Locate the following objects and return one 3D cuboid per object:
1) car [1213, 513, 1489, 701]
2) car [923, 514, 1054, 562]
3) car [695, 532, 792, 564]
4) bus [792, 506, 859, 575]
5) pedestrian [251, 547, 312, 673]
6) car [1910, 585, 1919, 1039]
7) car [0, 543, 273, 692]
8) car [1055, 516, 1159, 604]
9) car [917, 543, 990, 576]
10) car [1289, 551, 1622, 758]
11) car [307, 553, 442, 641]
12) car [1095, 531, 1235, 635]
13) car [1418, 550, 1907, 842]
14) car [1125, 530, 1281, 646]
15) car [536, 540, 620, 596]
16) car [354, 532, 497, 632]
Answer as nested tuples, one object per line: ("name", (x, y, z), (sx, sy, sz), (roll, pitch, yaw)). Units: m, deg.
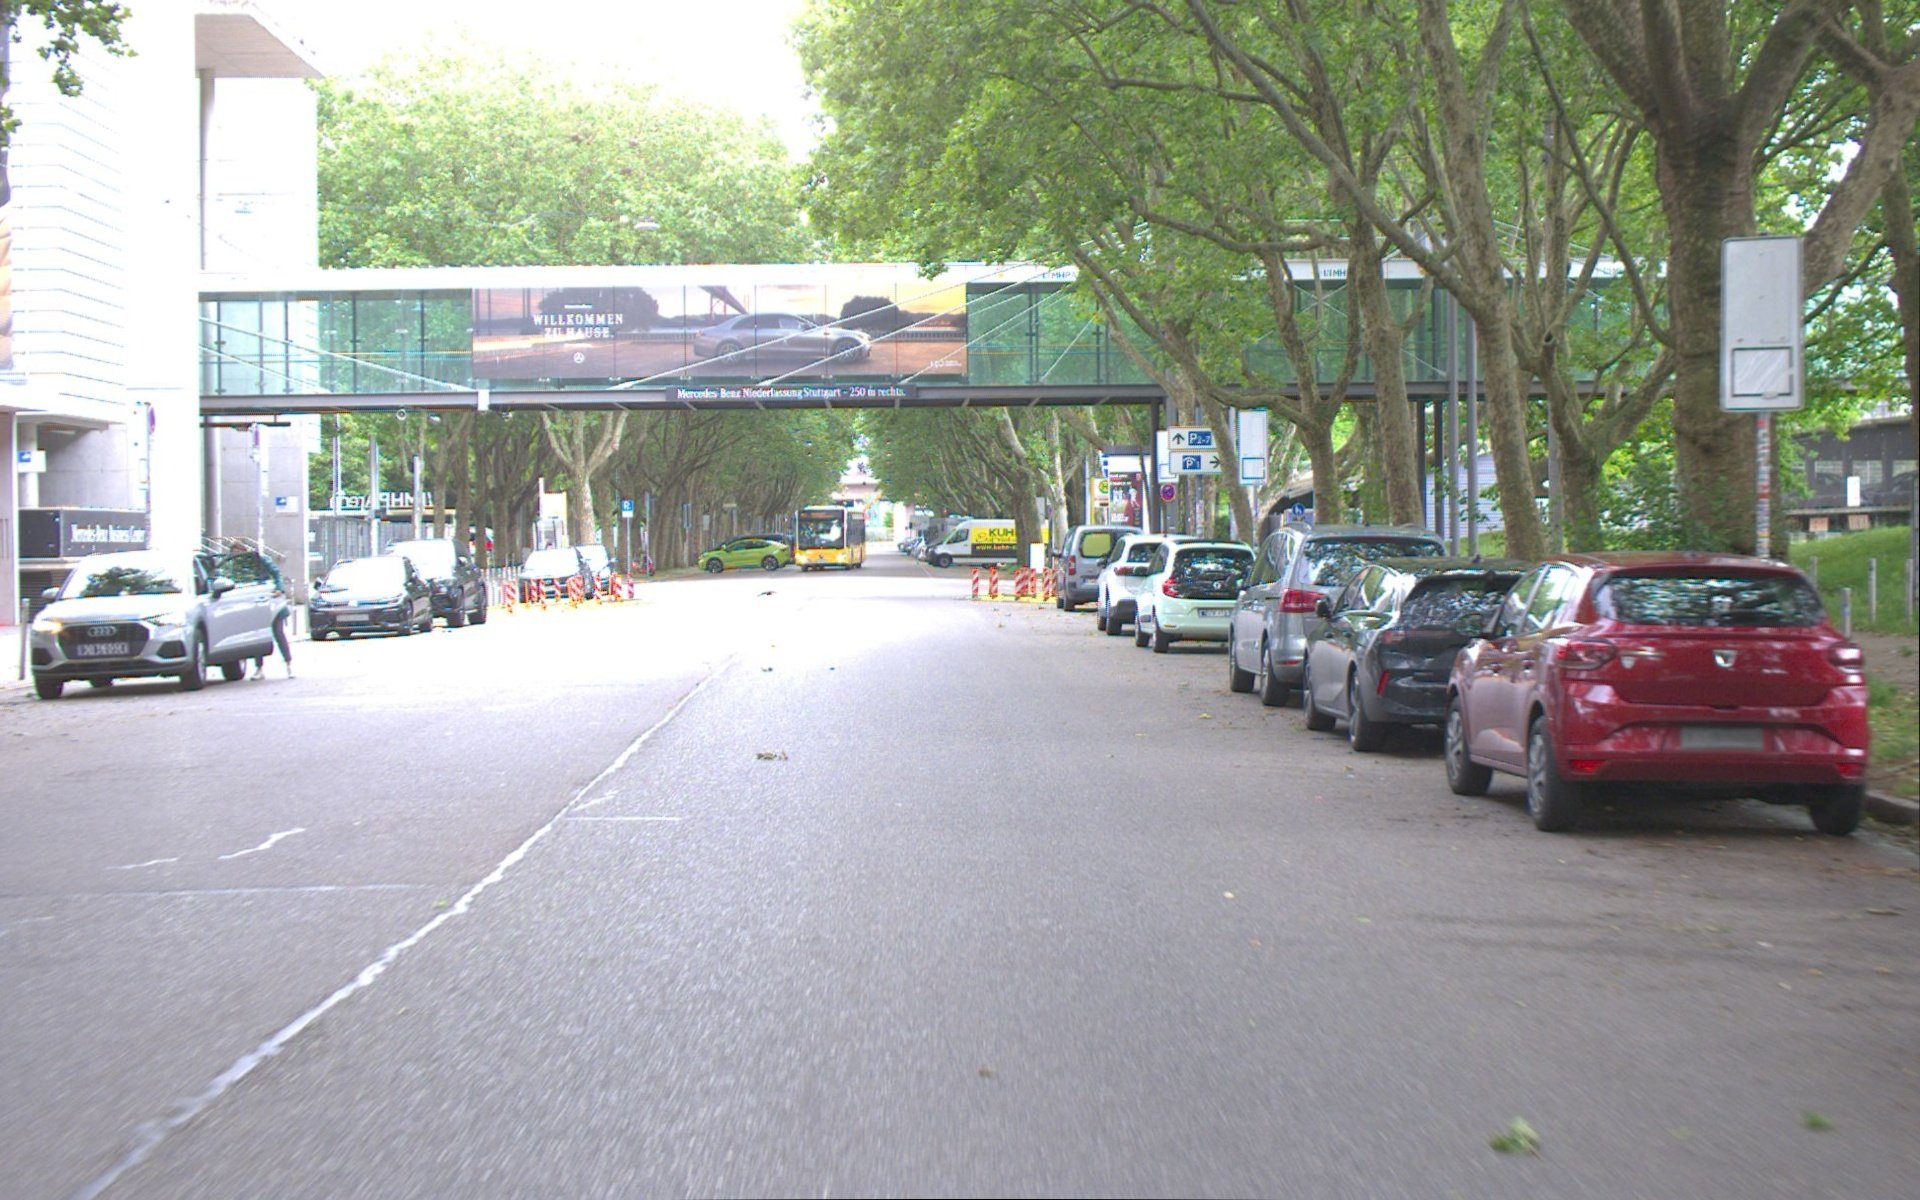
("car", (3.701, 0.032, 33.341), (1.981, 1.674, 4.732), (0, 1, -2))
("car", (1.481, -3.307, 182.548), (6.822, 2.505, 2.317), (-1, 1, -3))
("car", (-10.850, -2.590, 172.405), (4.700, 1.579, 1.864), (0, 1, 0))
("bus", (-6.593, -2.905, 169.700), (3.038, 3.149, 12.678), (-2, 1, -2))
("pedestrian", (-7.998, 0.113, 40.532), (0.584, 1.461, 0.567), (1, 1, 2))
("car", (4.021, 0.704, 8.610), (1.877, 1.422, 4.586), (0, 1, -2))
("car", (-9.331, 0.148, 39.239), (2.073, 1.557, 4.756), (0, 1, -1))
("car", (3.047, -0.853, 72.404), (1.847, 1.777, 5.211), (1, 1, -1))
("car", (-0.351, -2.247, 189.994), (3.986, 1.788, 1.543), (0, 1, -2))
("car", (3.703, 0.353, 26.445), (1.877, 1.422, 4.480), (0, 1, -1))
("car", (-10.563, -0.077, 62.266), (1.704, 1.415, 4.325), (-3, 1, -1))
("car", (3.287, -0.296, 55.984), (1.914, 1.612, 4.749), (0, 1, -1))
("car", (3.896, 0.464, 19.773), (1.856, 1.476, 4.178), (0, 1, -2))
("car", (3.335, -0.188, 47.778), (1.807, 1.521, 4.096), (0, 1, -1))
("car", (-10.730, -0.924, 96.921), (1.858, 1.448, 4.449), (-3, 1, -1))
("car", (-10.573, -0.401, 68.316), (2.034, 1.783, 4.908), (-3, 1, -1))
